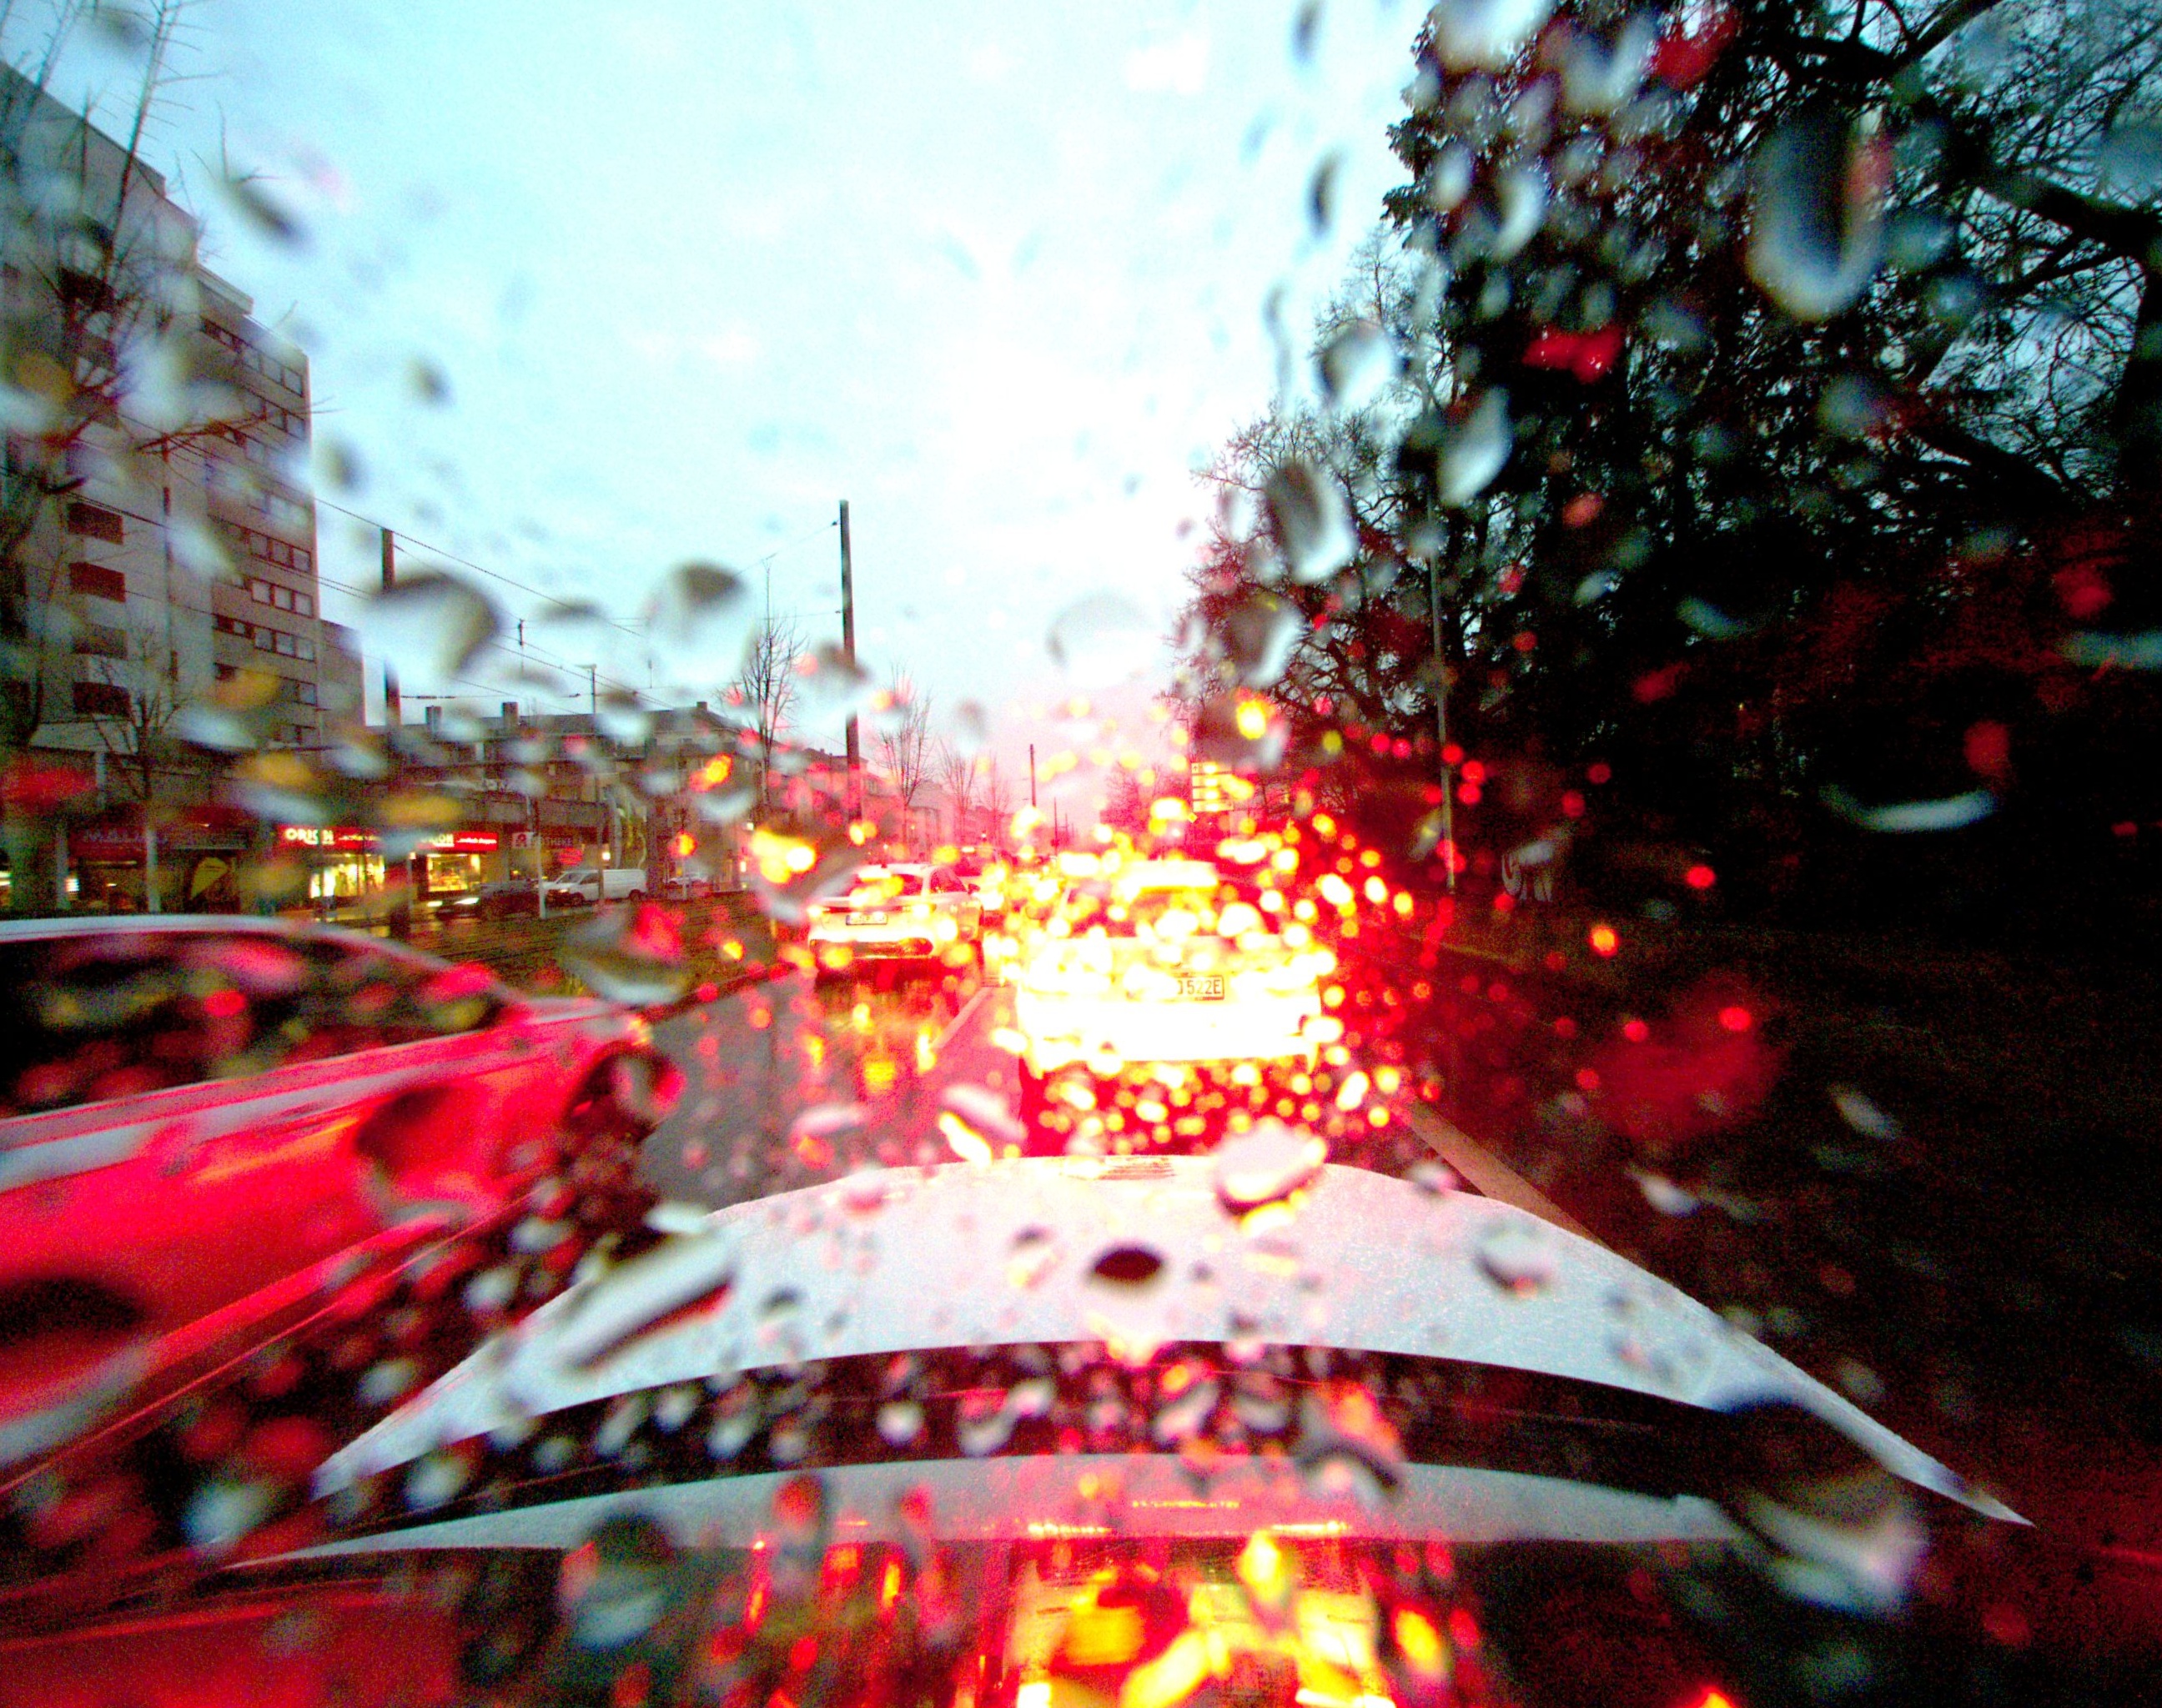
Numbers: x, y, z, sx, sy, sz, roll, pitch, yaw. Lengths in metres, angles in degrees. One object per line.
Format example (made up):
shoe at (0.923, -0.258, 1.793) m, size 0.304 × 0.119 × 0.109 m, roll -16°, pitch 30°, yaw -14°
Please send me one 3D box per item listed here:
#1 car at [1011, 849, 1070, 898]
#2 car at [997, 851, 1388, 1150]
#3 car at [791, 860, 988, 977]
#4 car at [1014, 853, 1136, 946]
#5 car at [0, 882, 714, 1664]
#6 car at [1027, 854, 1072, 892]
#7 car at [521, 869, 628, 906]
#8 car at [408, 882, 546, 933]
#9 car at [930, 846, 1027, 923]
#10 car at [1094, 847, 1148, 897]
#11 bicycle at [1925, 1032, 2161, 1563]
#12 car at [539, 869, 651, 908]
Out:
car at (-1.410, 0.664, 30.053) m, size 1.800 × 1.646 × 4.002 m, roll -1°, pitch 0°, yaw 2°
car at (0.645, 0.760, 6.318) m, size 1.992 × 1.508 × 4.165 m, roll -1°, pitch 0°, yaw 2°
car at (-2.636, 0.823, 12.408) m, size 1.840 × 1.405 × 4.614 m, roll -1°, pitch 0°, yaw 1°
car at (-0.036, 0.729, 15.215) m, size 1.928 × 1.457 × 4.165 m, roll -1°, pitch 0°, yaw 2°
car at (-2.889, 0.841, 2.386) m, size 1.756 × 1.371 × 3.981 m, roll -1°, pitch 0°, yaw 1°
car at (-1.420, 0.825, 38.073) m, size 1.800 × 1.646 × 4.002 m, roll -1°, pitch 0°, yaw 2°
car at (-30.698, 1.989, 49.473) m, size 5.193 × 1.912 × 1.975 m, roll -3°, pitch 0°, yaw -44°
car at (-23.739, 2.043, 32.262) m, size 1.889 × 1.634 × 4.582 m, roll -2°, pitch 0°, yaw 2°
car at (-2.493, 0.700, 20.852) m, size 1.787 × 1.736 × 4.538 m, roll -1°, pitch 0°, yaw 1°
car at (1.412, 0.616, 29.517) m, size 1.800 × 1.646 × 4.002 m, roll -1°, pitch 0°, yaw 2°
bicycle at (2.471, 0.957, 1.087) m, size 0.642 × 0.966 × 2.049 m, roll -2°, pitch 0°, yaw 4°
car at (-28.108, 1.969, 47.306) m, size 1.974 × 1.912 × 5.196 m, roll -3°, pitch 0°, yaw 29°
